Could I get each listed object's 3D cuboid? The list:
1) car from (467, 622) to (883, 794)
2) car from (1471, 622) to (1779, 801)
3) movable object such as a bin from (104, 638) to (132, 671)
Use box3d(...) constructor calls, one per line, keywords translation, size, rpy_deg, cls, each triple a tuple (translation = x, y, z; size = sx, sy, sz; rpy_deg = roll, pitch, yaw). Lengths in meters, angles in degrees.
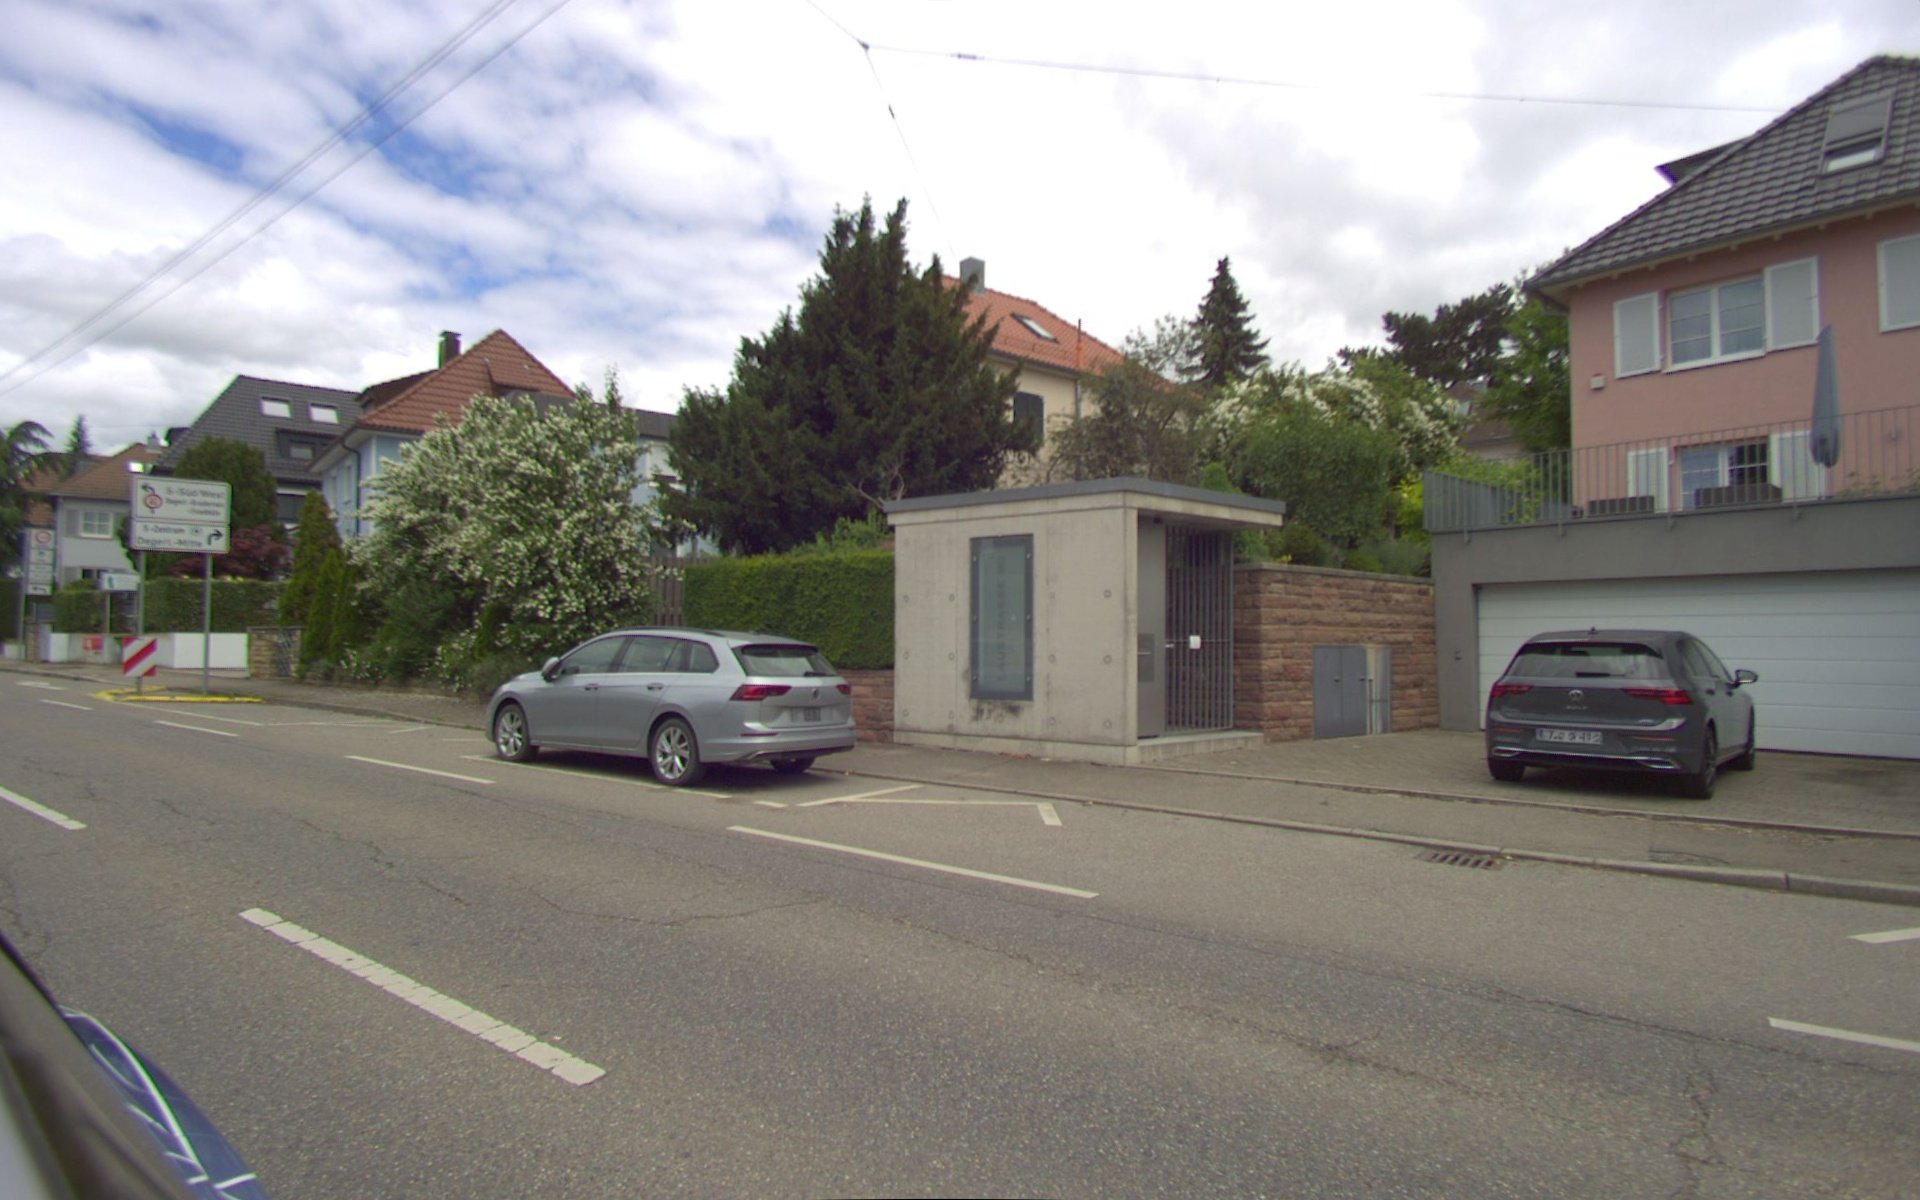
box3d(translation=(-3.088, 1.005, 10.627), size=(4.402, 1.466, 1.794), rpy_deg=(-1, -3, 34), cls="car")
box3d(translation=(6.577, 0.948, 9.878), size=(1.850, 1.401, 3.547), rpy_deg=(-2, -3, 44), cls="car")
box3d(translation=(-25.396, 1.641, 30.523), size=(0.539, 0.981, 0.502), rpy_deg=(-2, -3, 38), cls="movable object such as a bin")
